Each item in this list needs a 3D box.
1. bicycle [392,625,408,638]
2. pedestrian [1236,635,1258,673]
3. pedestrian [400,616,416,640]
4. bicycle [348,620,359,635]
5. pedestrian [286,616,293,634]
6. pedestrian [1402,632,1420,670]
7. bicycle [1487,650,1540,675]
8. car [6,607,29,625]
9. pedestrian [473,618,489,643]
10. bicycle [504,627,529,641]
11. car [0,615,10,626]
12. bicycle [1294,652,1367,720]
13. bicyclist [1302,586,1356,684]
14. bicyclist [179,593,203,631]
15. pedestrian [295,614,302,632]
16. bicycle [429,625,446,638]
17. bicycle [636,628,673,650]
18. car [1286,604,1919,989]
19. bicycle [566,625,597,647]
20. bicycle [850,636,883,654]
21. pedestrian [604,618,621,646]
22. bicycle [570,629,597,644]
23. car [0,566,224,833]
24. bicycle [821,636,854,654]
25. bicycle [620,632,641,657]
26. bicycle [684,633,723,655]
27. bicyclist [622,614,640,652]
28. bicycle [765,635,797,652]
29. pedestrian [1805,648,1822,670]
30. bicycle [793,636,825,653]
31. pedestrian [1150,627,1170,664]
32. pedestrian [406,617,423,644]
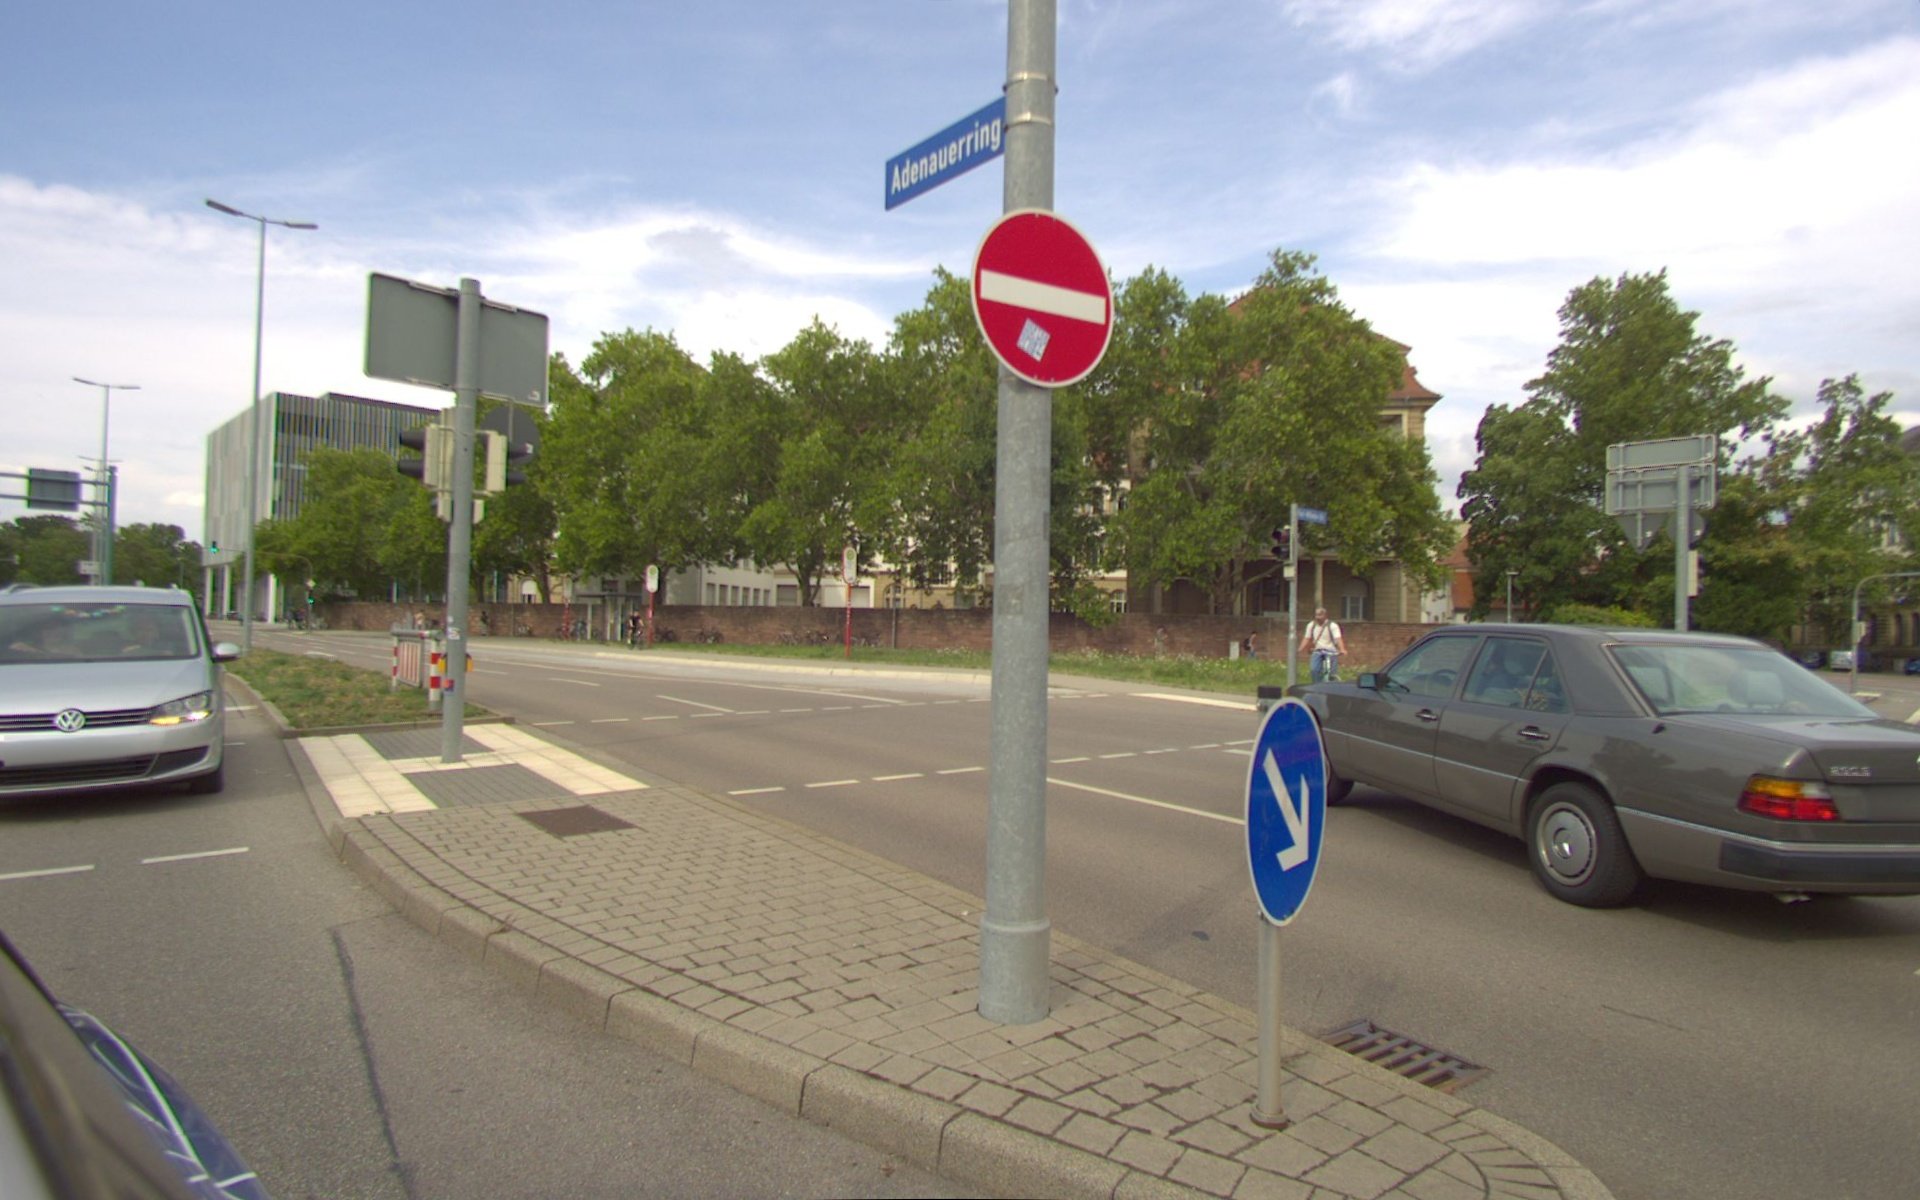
[{"bbox_3d":[-41.319,2.309,74.665,1.574,0.894,0.428,-1,1,38],"label":"bicycle"},{"bbox_3d":[12.886,2.426,45.511,0.769,1.667,0.579,0,0,-11],"label":"pedestrian"},{"bbox_3d":[-38.078,1.913,69.815,0.665,1.634,0.744,0,0,43],"label":"pedestrian"},{"bbox_3d":[-48.797,2.206,81.463,0.505,1.218,1.398,0,0,-42],"label":"bicycle"},{"bbox_3d":[-56.070,2.059,84.576,0.473,1.468,0.397,0,0,43],"label":"pedestrian"},{"bbox_3d":[20.101,2.251,45.072,0.623,1.667,0.530,0,0,12],"label":"pedestrian"},{"bbox_3d":[24.517,2.766,44.857,1.901,1.012,0.778,0,0,4],"label":"bicycle"},{"bbox_3d":[-109.592,1.812,117.692,1.970,2.029,4.004,0,0,-43],"label":"car"},{"bbox_3d":[-32.007,2.025,67.597,0.658,1.634,0.753,0,0,7],"label":"pedestrian"},{"bbox_3d":[-28.521,2.185,65.130,1.569,0.894,0.655,-1,0,29],"label":"bicycle"},{"bbox_3d":[-144.376,3.092,152.117,1.968,1.586,4.008,0,0,-38],"label":"car"},{"bbox_3d":[6.130,1.404,16.842,0.499,0.943,1.970,2,0,2],"label":"bicycle"},{"bbox_3d":[6.171,0.572,16.934,0.572,1.567,0.797,2,0,2],"label":"bicyclist"},{"bbox_3d":[-36.543,0.581,48.077,0.766,1.724,1.088,5,-5,-39],"label":"bicyclist"},{"bbox_3d":[-55.803,1.937,85.317,0.473,1.468,0.397,0,0,43],"label":"pedestrian"},{"bbox_3d":[-36.721,2.209,71.144,1.574,0.894,0.428,-1,1,38],"label":"bicycle"},{"bbox_3d":[-17.691,2.267,58.643,2.088,1.198,0.752,0,-4,27],"label":"bicycle"},{"bbox_3d":[3.800,0.777,6.236,1.674,1.491,4.423,0,0,-7],"label":"car"},{"bbox_3d":[-22.422,2.168,60.007,0.750,1.198,2.092,1,-4,9],"label":"bicycle"},{"bbox_3d":[-4.867,2.360,52.741,1.698,0.870,0.356,0,-4,23],"label":"bicycle"},{"bbox_3d":[-20.638,1.903,60.130,0.751,1.634,0.563,0,0,27],"label":"pedestrian"},{"bbox_3d":[-22.926,2.230,61.606,1.569,0.894,0.655,-1,0,29],"label":"bicycle"},{"bbox_3d":[-7.406,0.656,8.621,1.795,1.747,4.539,0,0,-37],"label":"car"},{"bbox_3d":[-6.435,2.360,53.041,1.883,0.870,0.355,0,-4,30],"label":"bicycle"},{"bbox_3d":[-13.908,1.877,42.715,0.497,0.943,1.978,2,0,-28],"label":"bicycle"},{"bbox_3d":[-14.372,2.466,56.763,2.088,1.198,0.752,0,-4,27],"label":"bicycle"},{"bbox_3d":[-13.881,1.395,42.718,0.570,1.567,0.800,2,0,-27],"label":"bicyclist"},{"bbox_3d":[-9.706,2.361,54.789,1.812,0.870,0.355,0,-4,26],"label":"bicycle"},{"bbox_3d":[80.986,5.610,96.050,0.883,2.029,1.002,1,-2,20],"label":"pedestrian"},{"bbox_3d":[-8.069,2.361,53.960,1.801,0.870,0.355,0,-4,28],"label":"bicycle"},{"bbox_3d":[9.171,2.088,46.505,0.770,1.667,0.578,0,0,-6],"label":"pedestrian"},{"bbox_3d":[-34.204,1.911,63.439,0.665,1.634,0.744,0,0,43],"label":"pedestrian"}]
